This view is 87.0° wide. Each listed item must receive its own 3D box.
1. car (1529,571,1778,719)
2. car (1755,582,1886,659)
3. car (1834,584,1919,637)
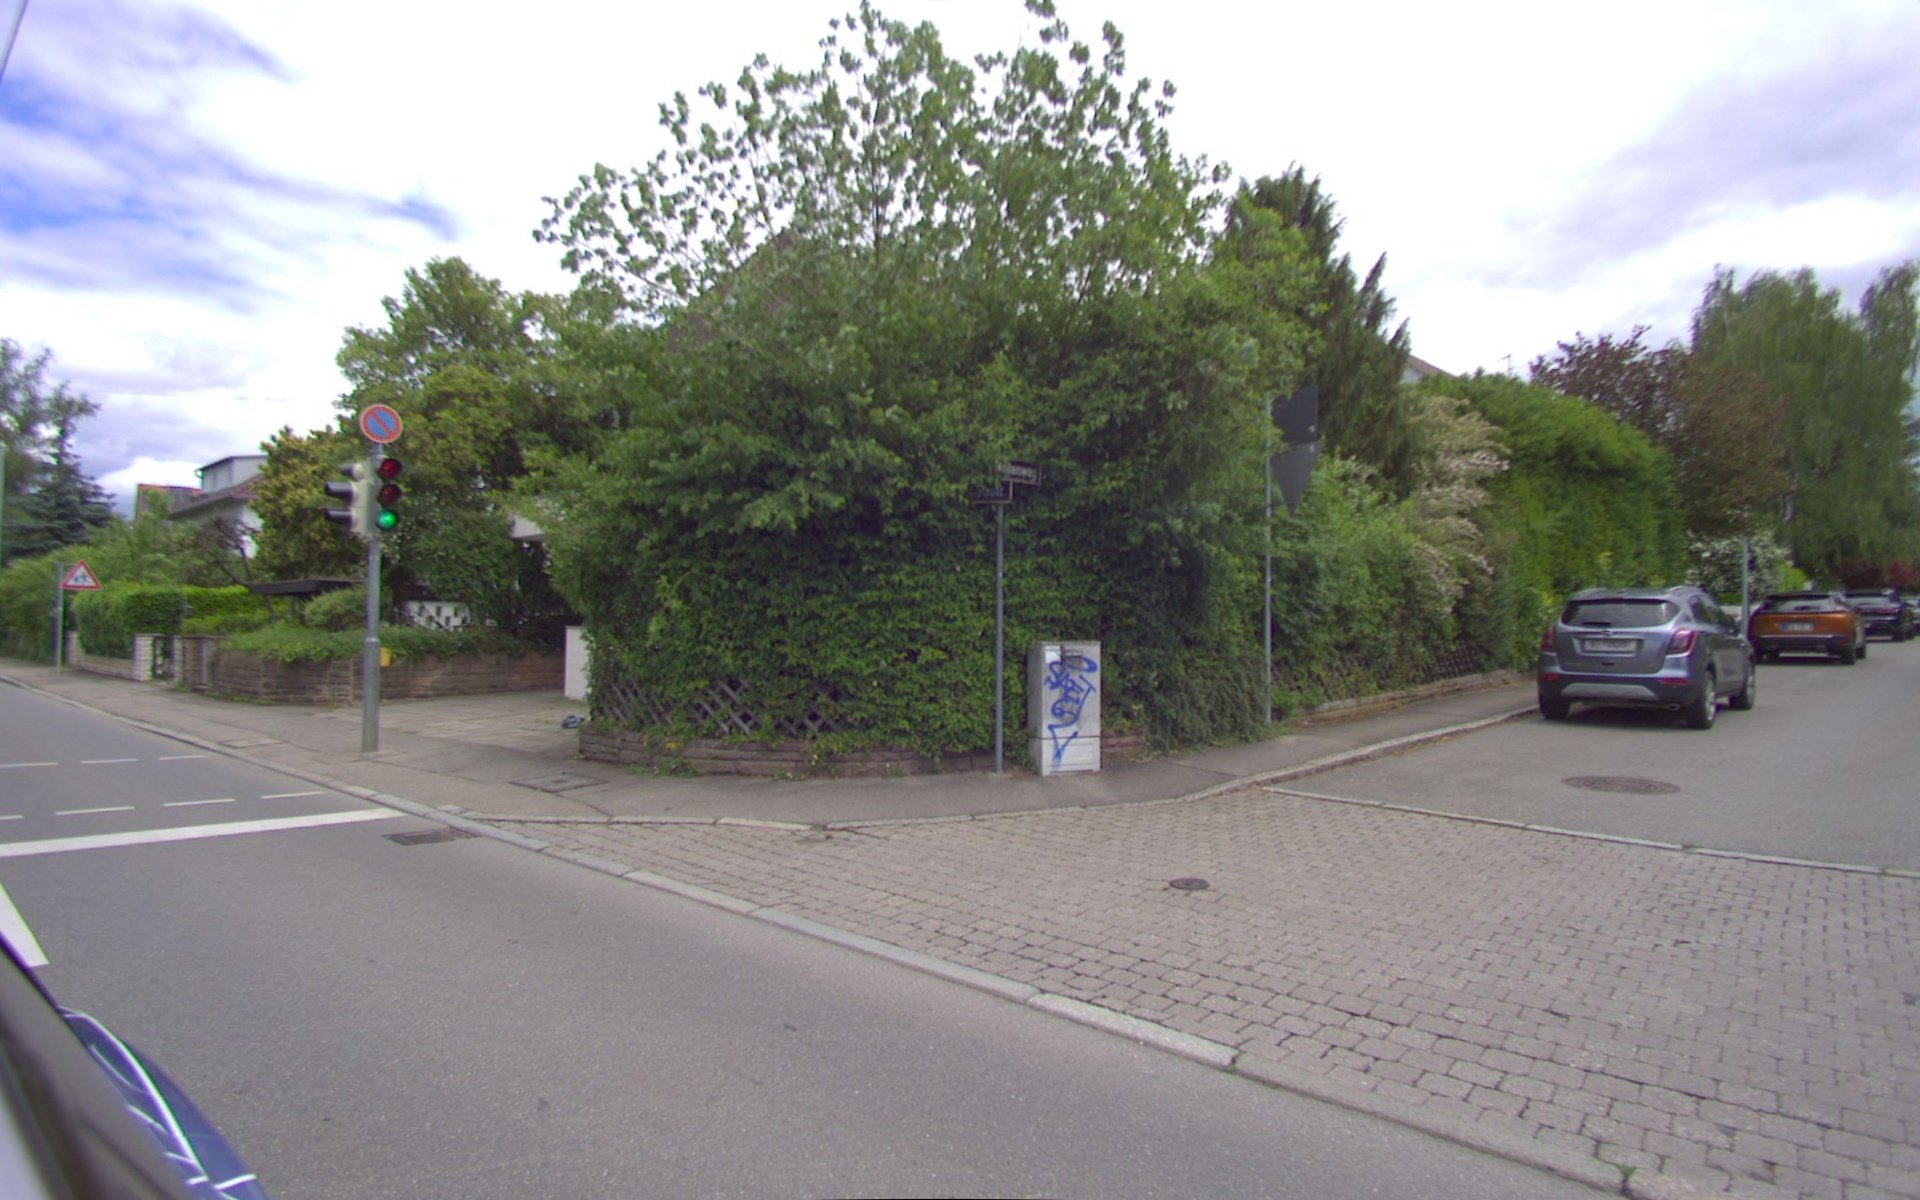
[{"bbox_3d":[9.026,0.487,13.048,3.940,1.609,1.879,-1,0,-44],"label":"car"},{"bbox_3d":[18.506,0.394,21.710,3.940,1.499,1.745,-1,0,-44],"label":"car"},{"bbox_3d":[28.444,0.312,31.323,3.940,1.532,1.745,-1,0,-44],"label":"car"}]
